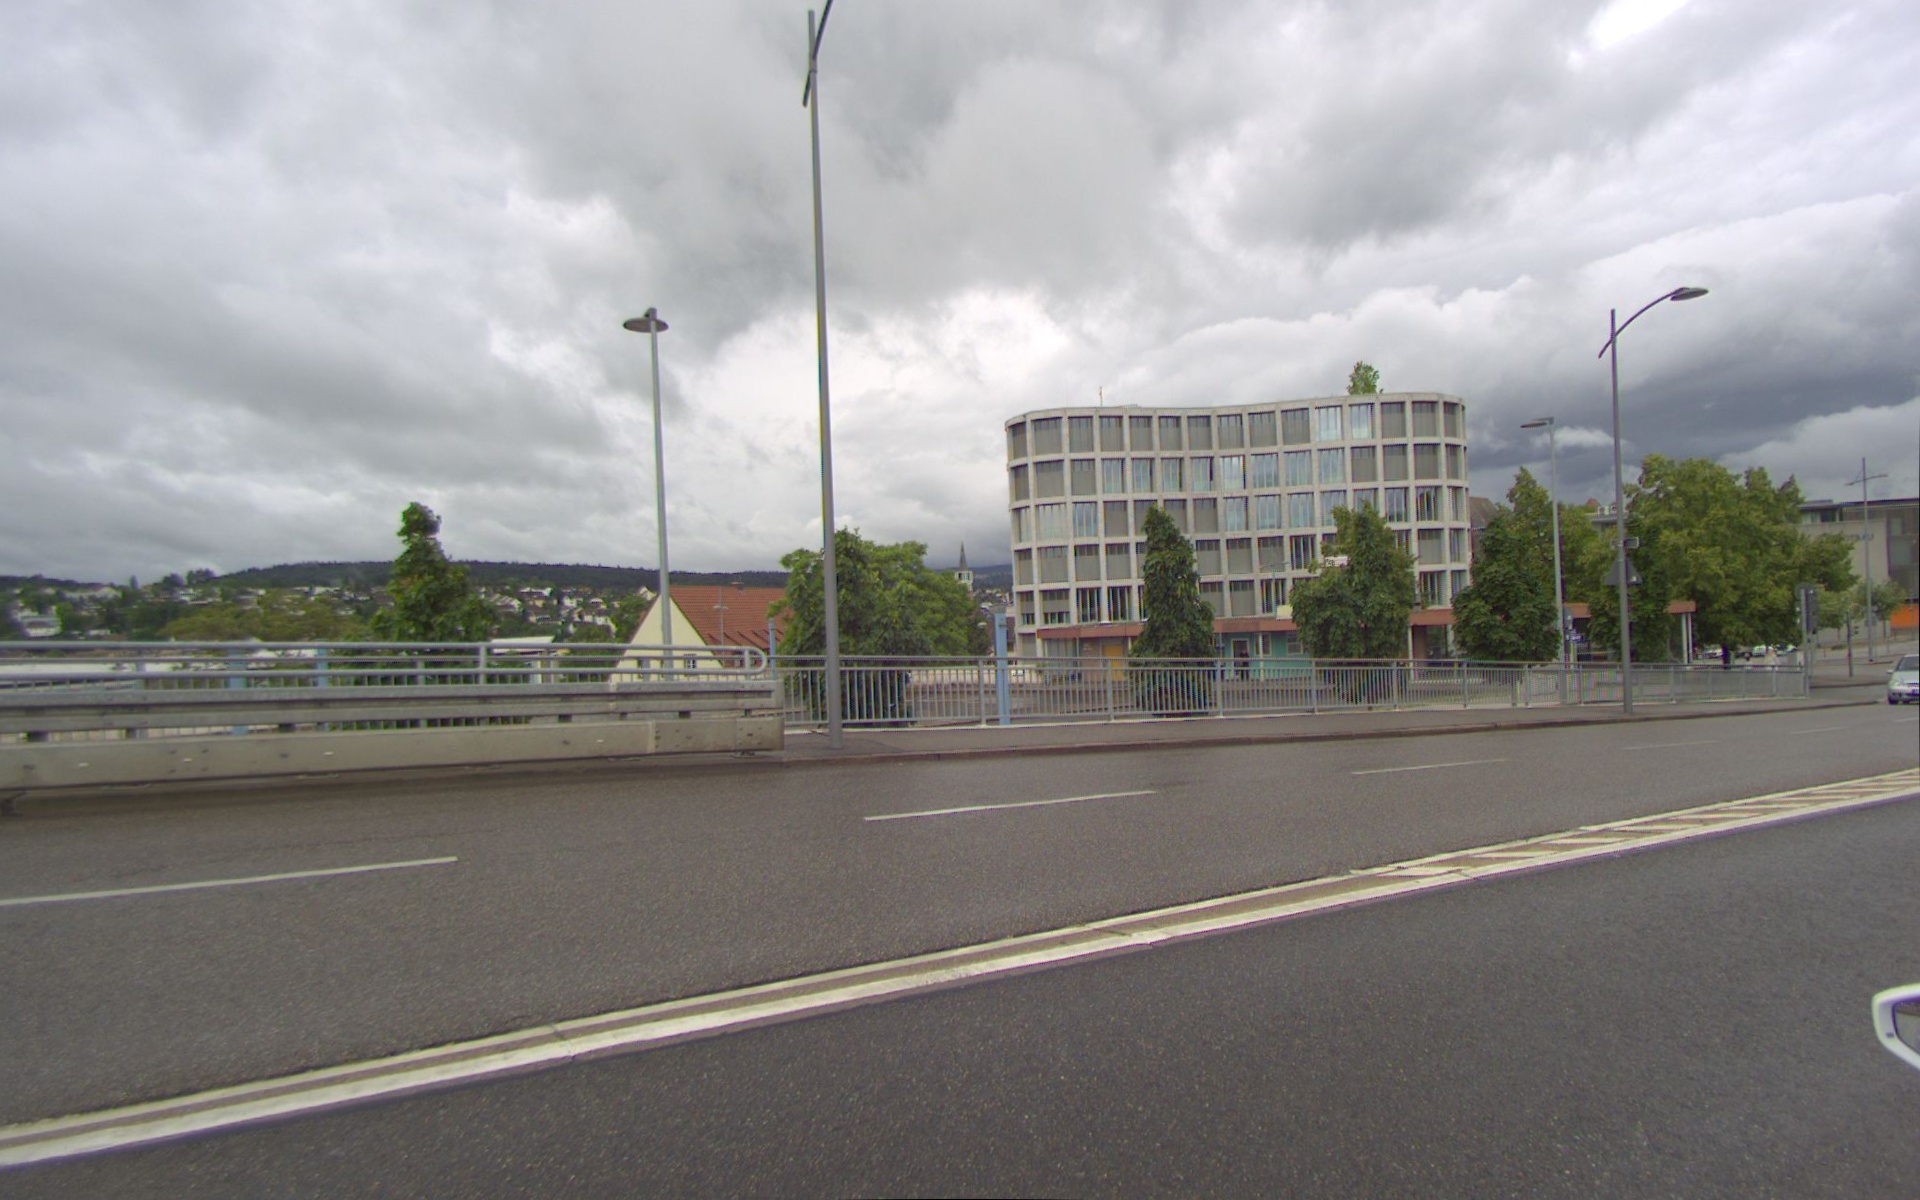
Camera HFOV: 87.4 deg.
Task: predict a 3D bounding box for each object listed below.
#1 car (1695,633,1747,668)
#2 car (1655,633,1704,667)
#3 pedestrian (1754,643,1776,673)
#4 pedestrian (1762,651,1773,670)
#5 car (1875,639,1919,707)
[{"bbox_3d":[54.063,3.556,71.418,1.962,2.041,3.997,3,3,23],"label":"car"},{"bbox_3d":[51.868,3.589,72.499,1.962,2.041,3.997,3,3,23],"label":"car"},{"bbox_3d":[38.362,2.763,47.862,0.524,1.427,0.646,-1,-1,-27],"label":"pedestrian"},{"bbox_3d":[38.420,2.854,47.799,0.294,0.885,0.300,-1,-1,-27],"label":"pedestrian"},{"bbox_3d":[30.562,2.247,31.554,3.964,2.040,1.979,1,-3,-37],"label":"car"}]
